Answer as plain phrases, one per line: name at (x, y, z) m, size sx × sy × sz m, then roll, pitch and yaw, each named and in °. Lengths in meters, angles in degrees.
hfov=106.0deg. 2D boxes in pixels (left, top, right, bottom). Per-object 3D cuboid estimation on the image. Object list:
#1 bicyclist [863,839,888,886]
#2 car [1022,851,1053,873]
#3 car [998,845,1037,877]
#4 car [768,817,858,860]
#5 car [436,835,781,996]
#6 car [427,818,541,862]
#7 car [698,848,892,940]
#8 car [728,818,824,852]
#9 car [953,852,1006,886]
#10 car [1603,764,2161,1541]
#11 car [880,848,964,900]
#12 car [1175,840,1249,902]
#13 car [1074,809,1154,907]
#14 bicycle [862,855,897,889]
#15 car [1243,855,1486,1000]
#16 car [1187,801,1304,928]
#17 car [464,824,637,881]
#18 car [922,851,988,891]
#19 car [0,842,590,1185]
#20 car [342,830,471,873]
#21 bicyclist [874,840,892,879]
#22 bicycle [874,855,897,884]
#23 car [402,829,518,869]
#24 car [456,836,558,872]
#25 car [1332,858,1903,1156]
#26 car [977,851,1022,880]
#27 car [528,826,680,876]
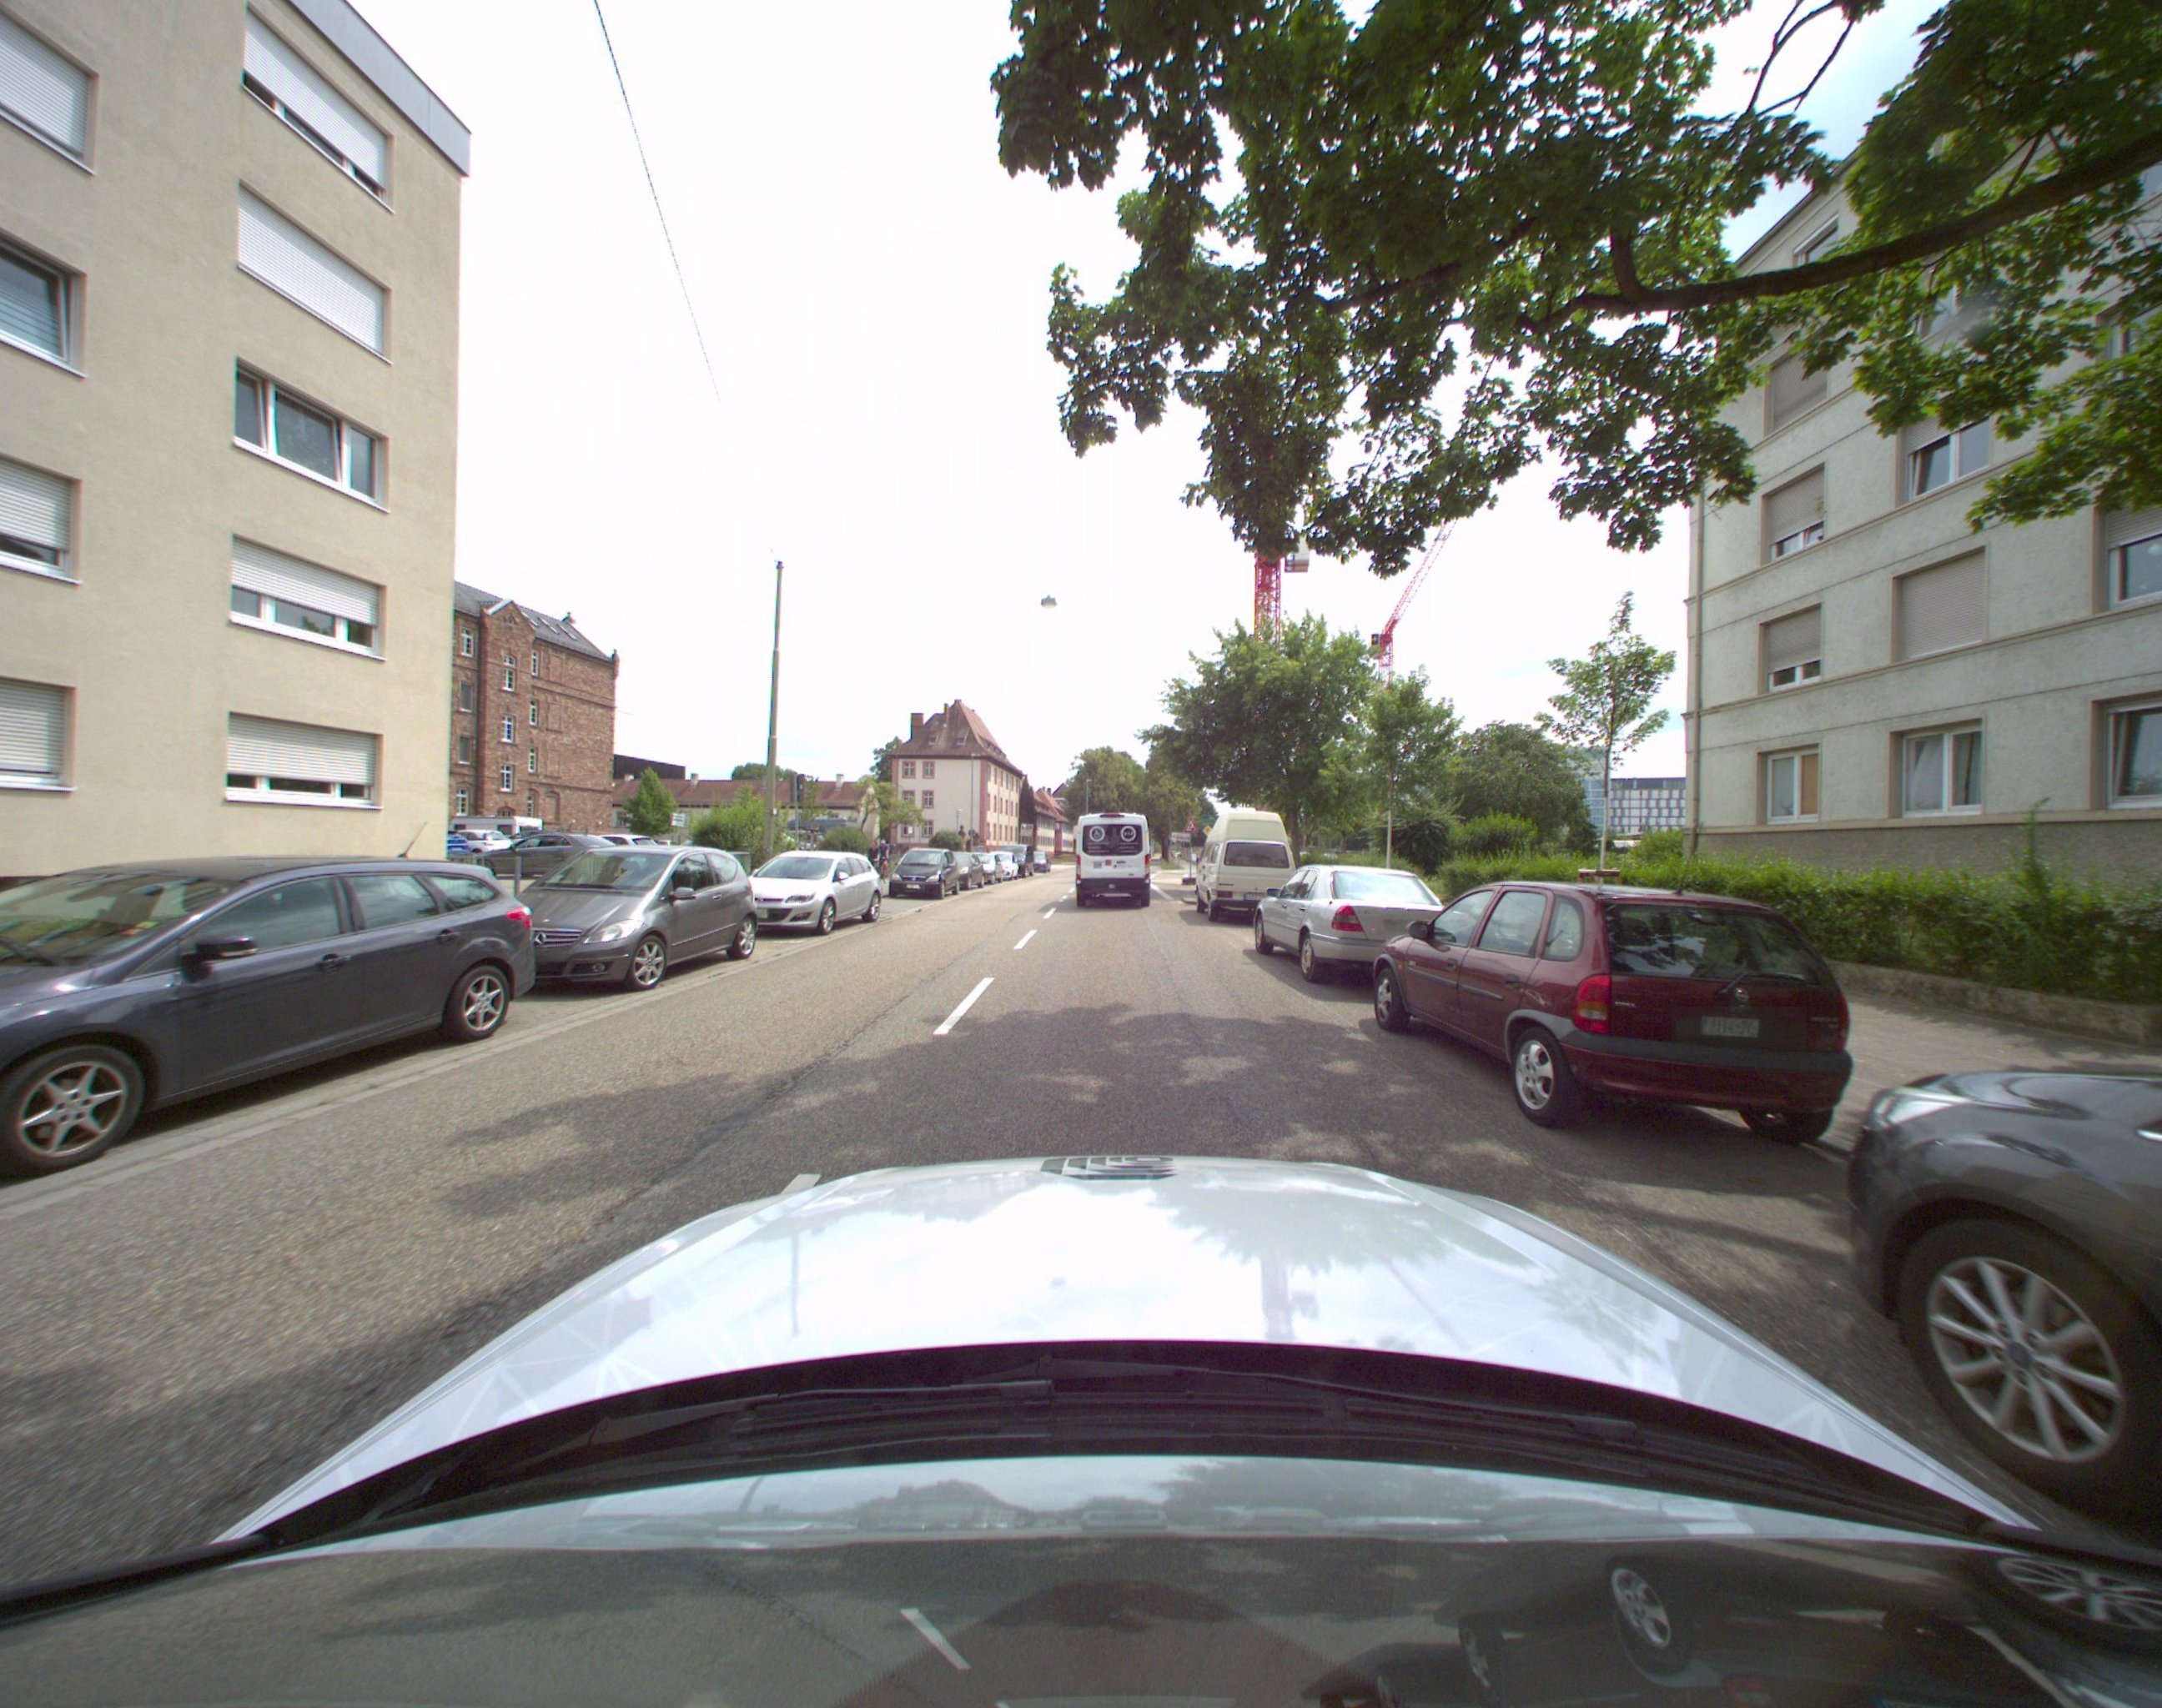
bicyclist at (-7.380, 0.307, 29.218) m, size 0.534 × 1.653 × 1.049 m, roll 0°, pitch 0°, yaw 6°
car at (-3.118, 0.583, 59.138) m, size 1.778 × 1.482 × 3.863 m, roll 2°, pitch 0°, yaw 3°
car at (-3.790, 0.408, 49.101) m, size 1.778 × 1.827 × 3.977 m, roll 2°, pitch 0°, yaw 3°
car at (-15.183, -0.860, 46.319) m, size 4.391 × 2.348 × 2.002 m, roll 1°, pitch 1°, yaw 2°
car at (-5.570, 0.622, 10.368) m, size 1.879 × 1.579 × 4.153 m, roll 2°, pitch 0°, yaw 0°
car at (-37.779, -0.879, 51.603) m, size 5.456 × 2.623 × 2.459 m, roll 1°, pitch 0°, yaw 5°
car at (-5.352, 0.676, 16.019) m, size 1.878 × 1.488 × 4.638 m, roll 2°, pitch 0°, yaw 4°
car at (-15.780, -0.988, 42.266) m, size 4.155 × 1.684 × 2.002 m, roll 1°, pitch 1°, yaw 3°
car at (-4.681, 0.651, 38.080) m, size 1.778 × 1.462 × 3.863 m, roll 2°, pitch 0°, yaw 3°
car at (3.302, 0.682, 0.937) m, size 1.921 × 1.661 × 5.323 m, roll 3°, pitch 0°, yaw 0°
car at (-5.114, 0.608, 26.765) m, size 1.778 × 1.543 × 3.863 m, roll 2°, pitch 0°, yaw 3°
car at (4.005, 0.500, 25.533) m, size 1.706 × 1.695 × 4.002 m, roll 3°, pitch 0°, yaw 1°
car at (0.848, 0.124, 23.435) m, size 2.064 × 2.540 × 4.634 m, roll 0°, pitch -1°, yaw 0°
bicycle at (-7.330, 0.645, 29.717) m, size 0.538 × 1.175 × 2.095 m, roll 0°, pitch 0°, yaw 6°
car at (3.532, 0.805, 11.109) m, size 1.675 × 1.469 × 4.555 m, roll 3°, pitch 0°, yaw 0°
car at (3.806, 0.225, 19.661) m, size 1.889 × 2.587 × 4.831 m, roll 3°, pitch 0°, yaw 2°
car at (-16.631, -0.068, 25.678) m, size 4.155 × 1.684 × 2.002 m, roll 1°, pitch 1°, yaw 3°
car at (-4.960, 0.634, 32.541) m, size 1.778 × 1.462 × 3.863 m, roll 2°, pitch 0°, yaw 3°
car at (-5.631, 0.702, 5.383) m, size 1.735 × 1.496 × 4.787 m, roll 2°, pitch 0°, yaw 1°
car at (-28.862, -0.118, 34.918) m, size 3.968 × 1.794 × 2.003 m, roll 0°, pitch 0°, yaw 5°
bicyclist at (-8.124, 0.221, 33.456) m, size 0.533 × 1.585 × 0.692 m, roll 0°, pitch 0°, yaw 5°
bicycle at (-8.091, 0.614, 33.791) m, size 0.539 × 1.175 × 1.351 m, roll 0°, pitch 0°, yaw 5°
car at (-28.634, -0.228, 37.642) m, size 3.968 × 1.794 × 1.939 m, roll 0°, pitch 0°, yaw 5°
car at (-29.870, -0.002, 42.465) m, size 3.968 × 1.794 × 1.939 m, roll 0°, pitch 0°, yaw 5°
car at (3.444, 0.816, 6.278) m, size 1.707 × 1.464 × 4.000 m, roll 3°, pitch 0°, yaw 0°
car at (-4.350, 0.594, 43.933) m, size 1.778 × 1.482 × 3.863 m, roll 2°, pitch 0°, yaw 3°
car at (-16.749, -0.119, 28.749) m, size 4.155 × 1.684 × 2.002 m, roll 1°, pitch 1°, yaw 3°
